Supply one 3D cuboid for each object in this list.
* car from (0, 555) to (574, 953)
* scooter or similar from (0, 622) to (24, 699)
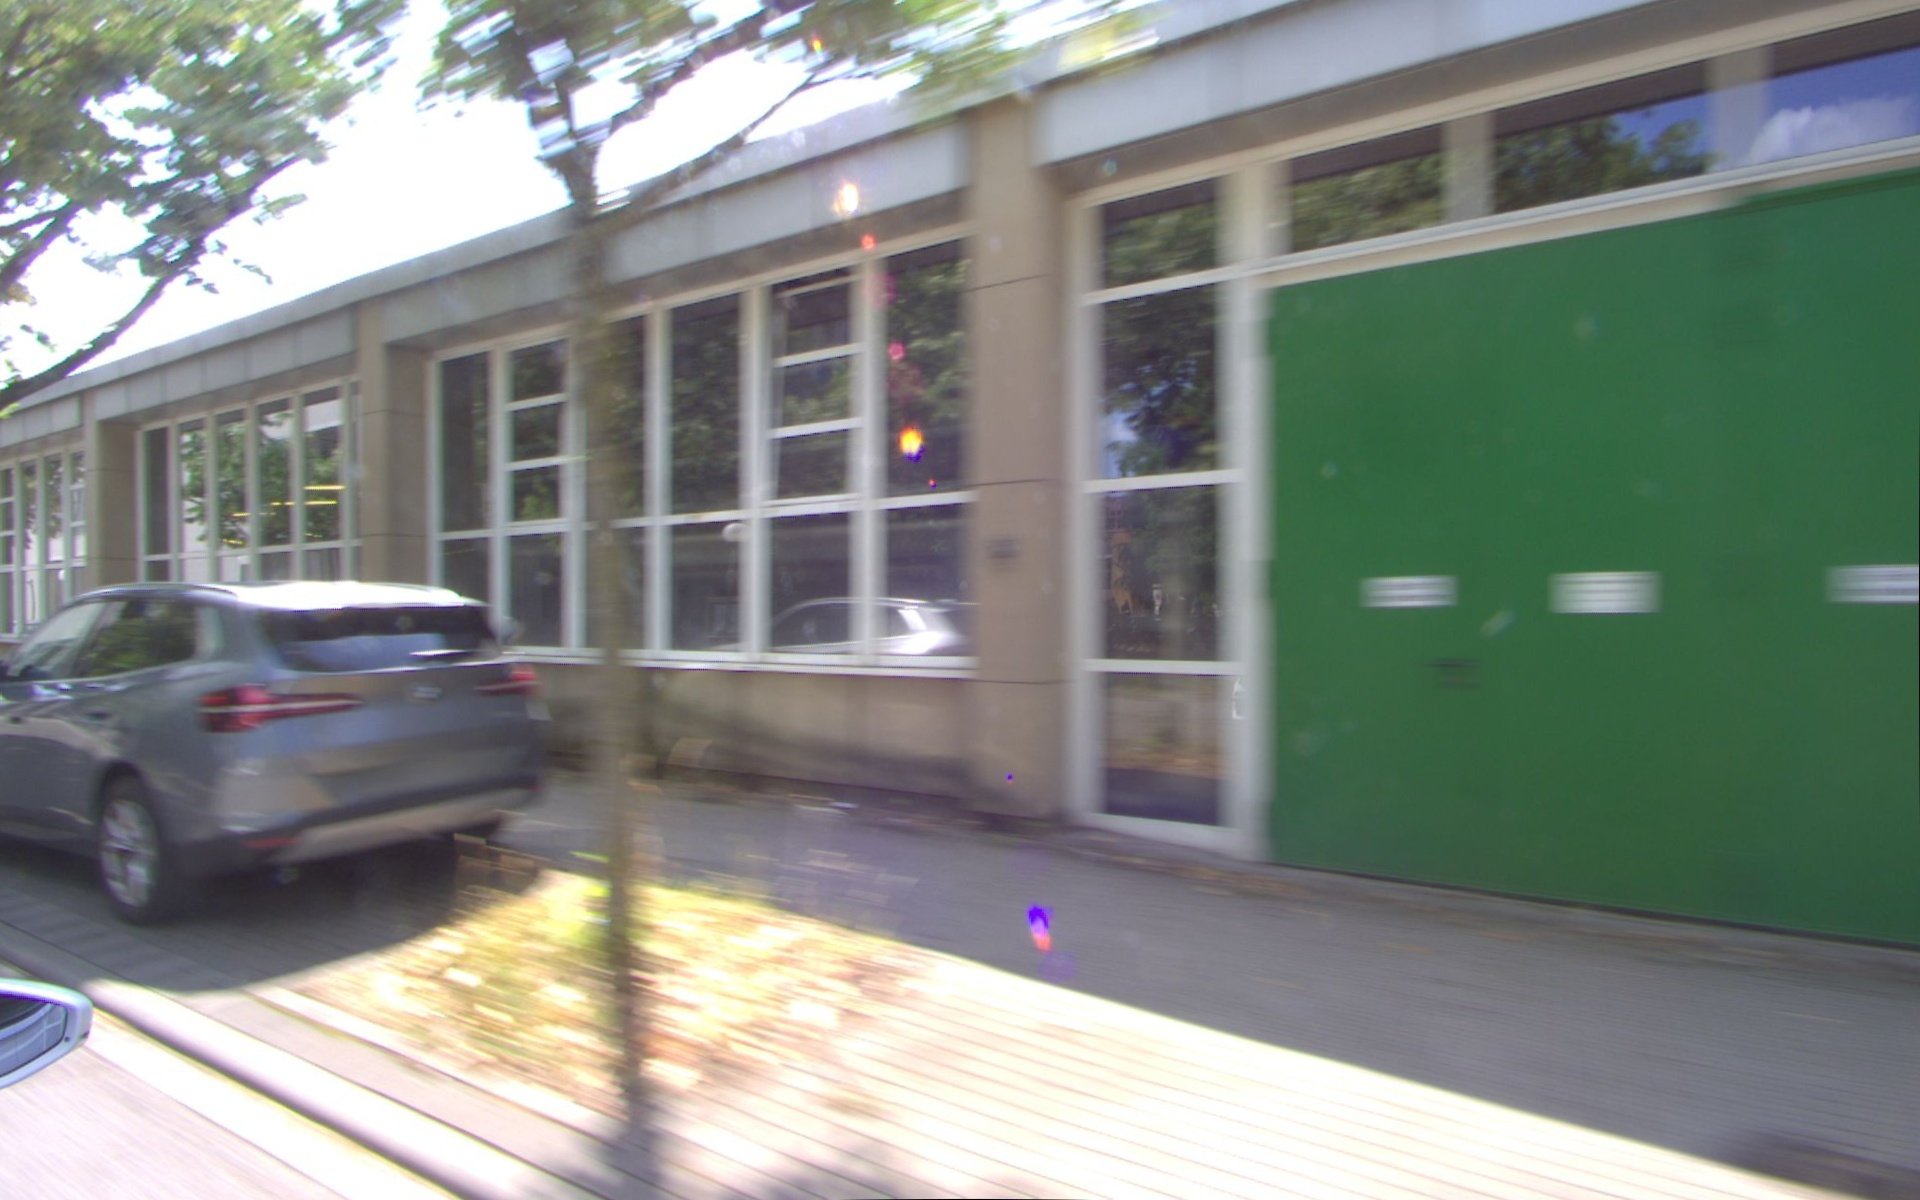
[{"bbox_3d":[-4.651,0.700,6.183,4.517,1.685,1.819,-1,0,31],"label":"car"},{"bbox_3d":[-16.555,1.012,17.060,1.464,1.266,0.509,0,1,33],"label":"scooter or similar"}]
